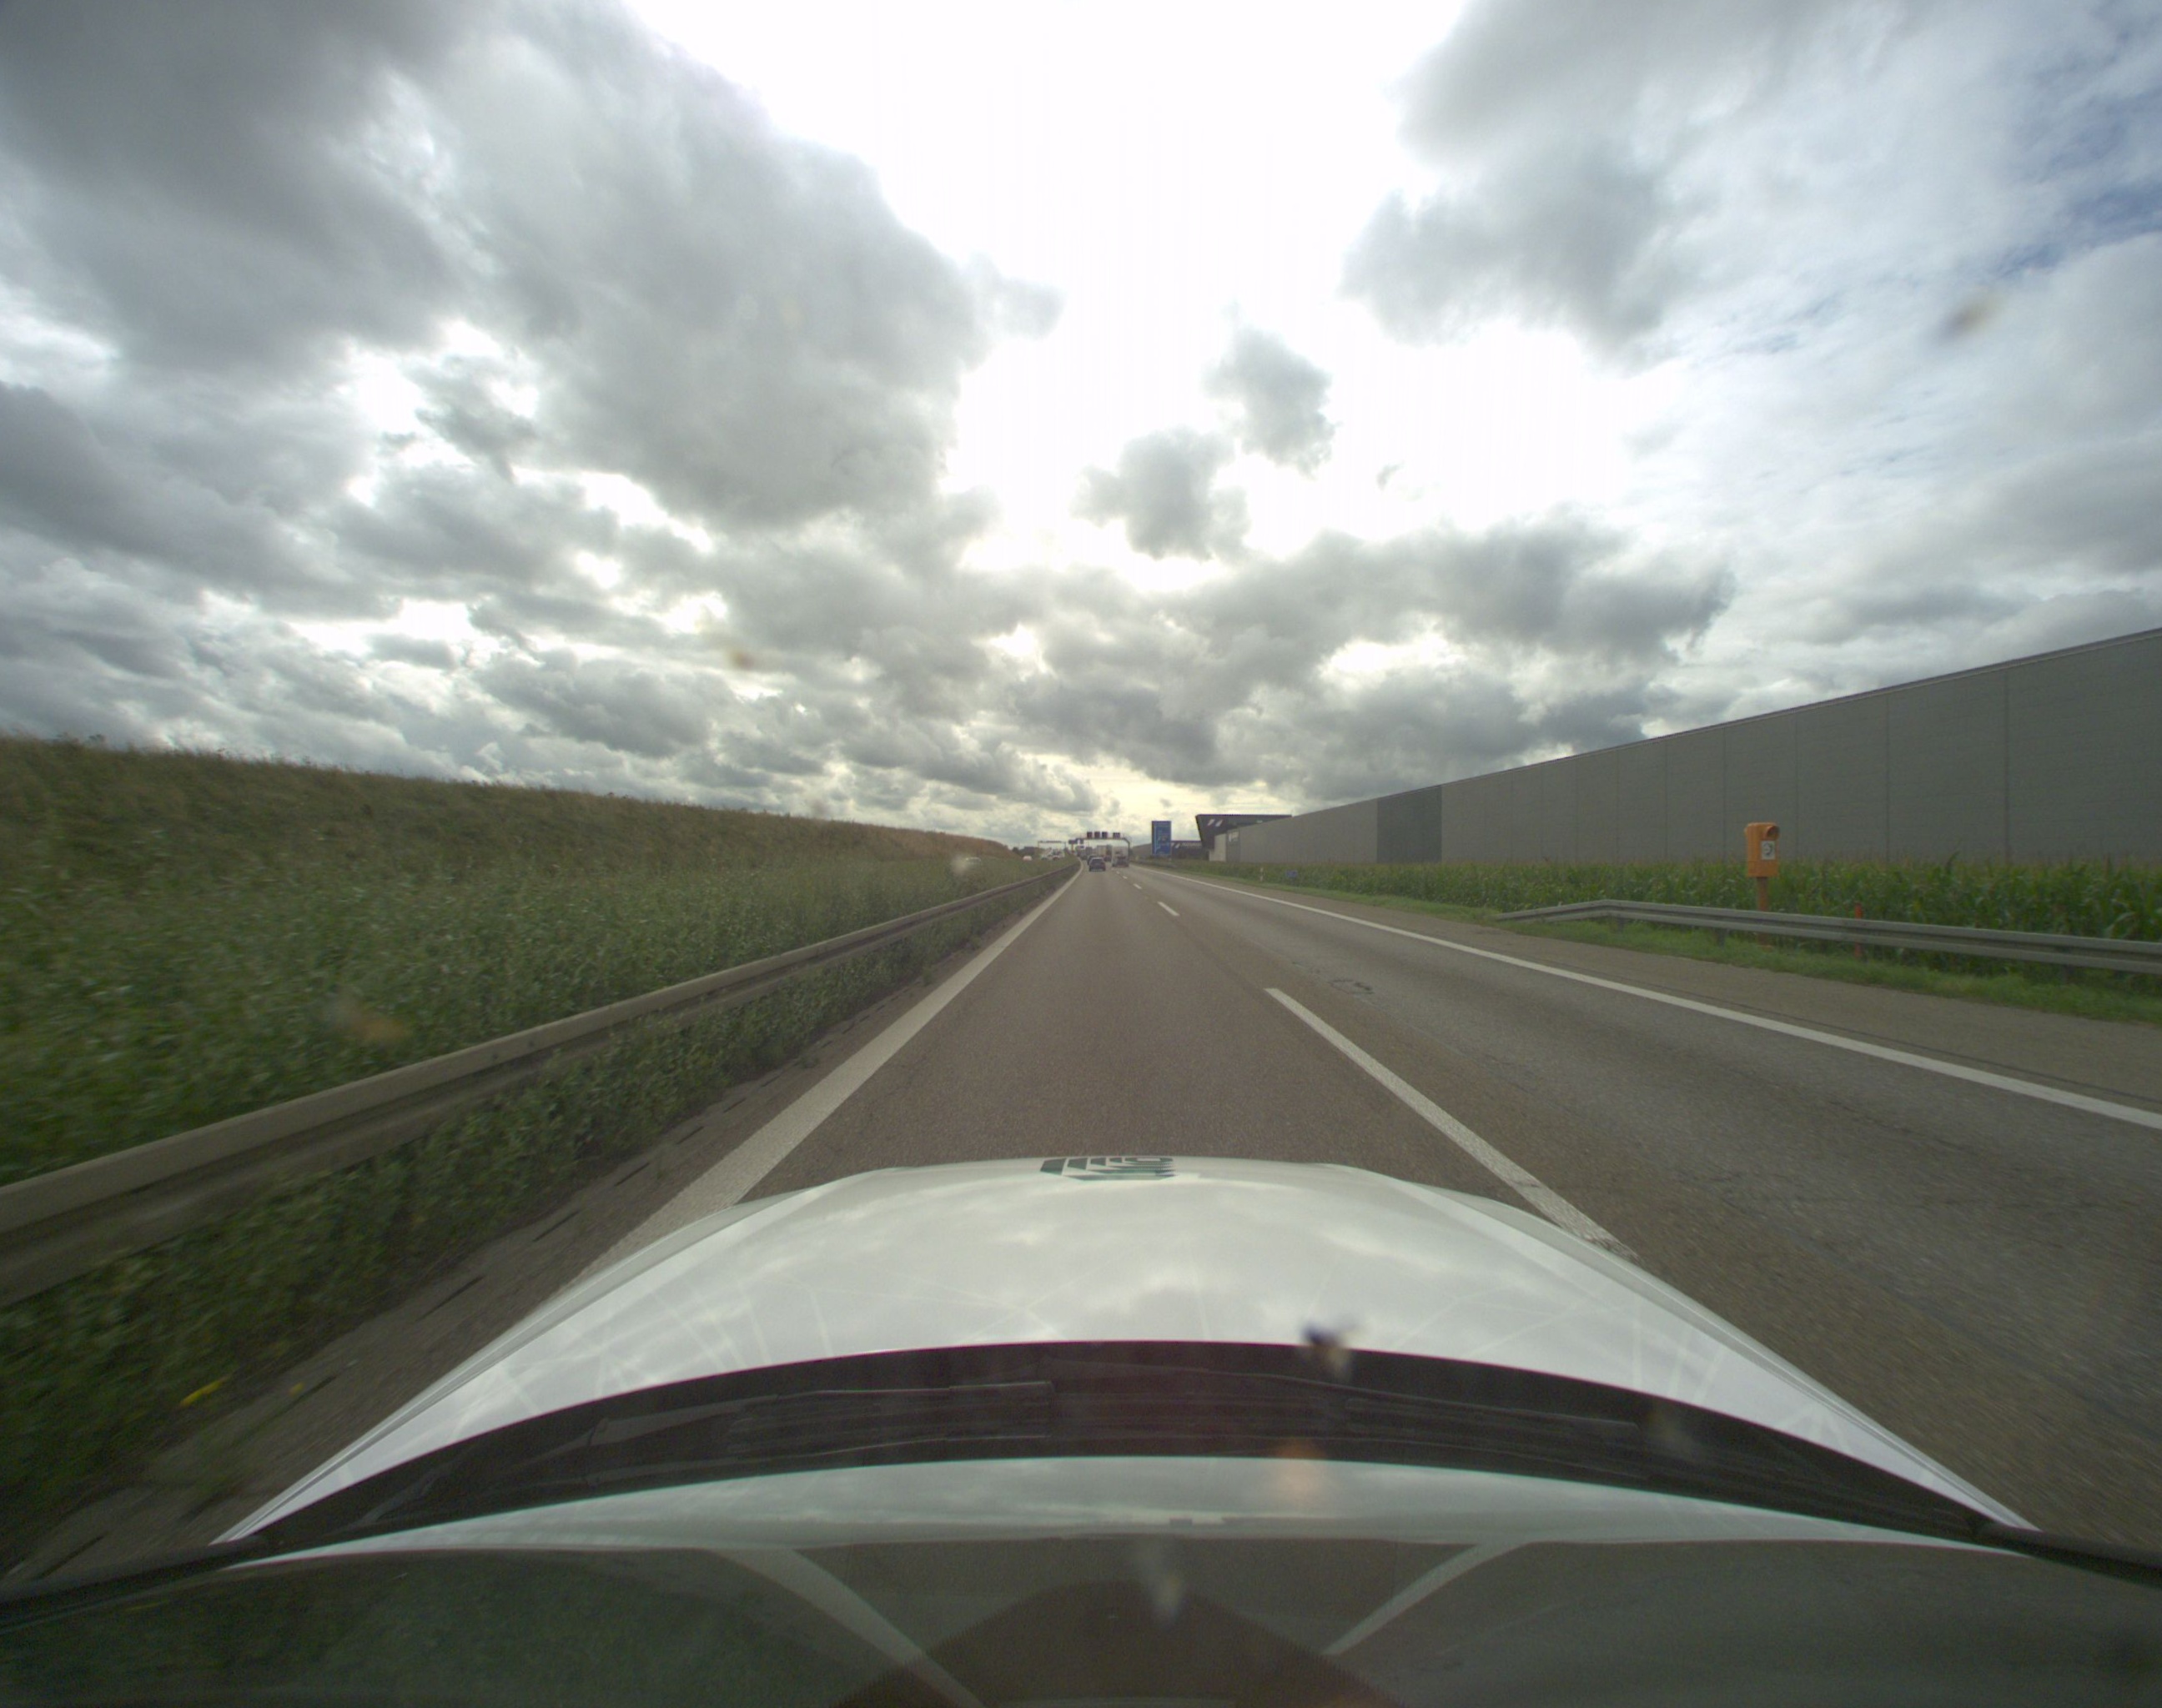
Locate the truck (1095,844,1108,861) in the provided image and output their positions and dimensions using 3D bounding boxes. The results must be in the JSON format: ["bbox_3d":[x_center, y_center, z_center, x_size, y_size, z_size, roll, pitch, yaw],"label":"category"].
[{"bbox_3d":[5.615,-0.396,226.113,3.329,4.534,8.013,0,-1,-1],"label":"truck"}]

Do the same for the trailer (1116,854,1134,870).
[{"bbox_3d":[5.953,1.100,111.041,2.330,2.136,4.001,0,-1,1],"label":"trailer"}]

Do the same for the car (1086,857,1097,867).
[{"bbox_3d":[1.824,1.333,142.239,1.938,1.685,4.001,0,-1,1],"label":"car"}]

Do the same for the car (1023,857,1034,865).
[{"bbox_3d":[-9.861,1.289,152.429,1.718,1.403,4.343,0,-1,1],"label":"car"}]

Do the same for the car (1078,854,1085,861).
[{"bbox_3d":[0.189,1.121,250.819,1.986,2.014,4.001,0,-1,2],"label":"car"}]

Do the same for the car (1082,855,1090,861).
[{"bbox_3d":[1.319,1.115,221.406,1.936,1.775,3.697,0,-1,1],"label":"car"}]

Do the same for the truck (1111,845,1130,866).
[{"bbox_3d":[5.670,0.238,118.136,2.474,2.950,5.812,0,-1,-1],"label":"truck"}]

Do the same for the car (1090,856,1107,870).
[{"bbox_3d":[1.936,1.010,88.267,1.740,1.453,4.001,0,-1,1],"label":"car"}]

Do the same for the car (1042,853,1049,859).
[{"bbox_3d":[-9.671,0.527,223.059,1.766,1.454,4.000,0,-1,1],"label":"car"}]

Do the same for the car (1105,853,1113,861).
[{"bbox_3d":[6.176,0.705,180.570,1.795,1.685,4.000,0,-1,1],"label":"car"}]

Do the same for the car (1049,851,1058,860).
[{"bbox_3d":[-7.248,0.507,213.932,1.987,2.348,5.870,0,-1,0],"label":"car"}]
